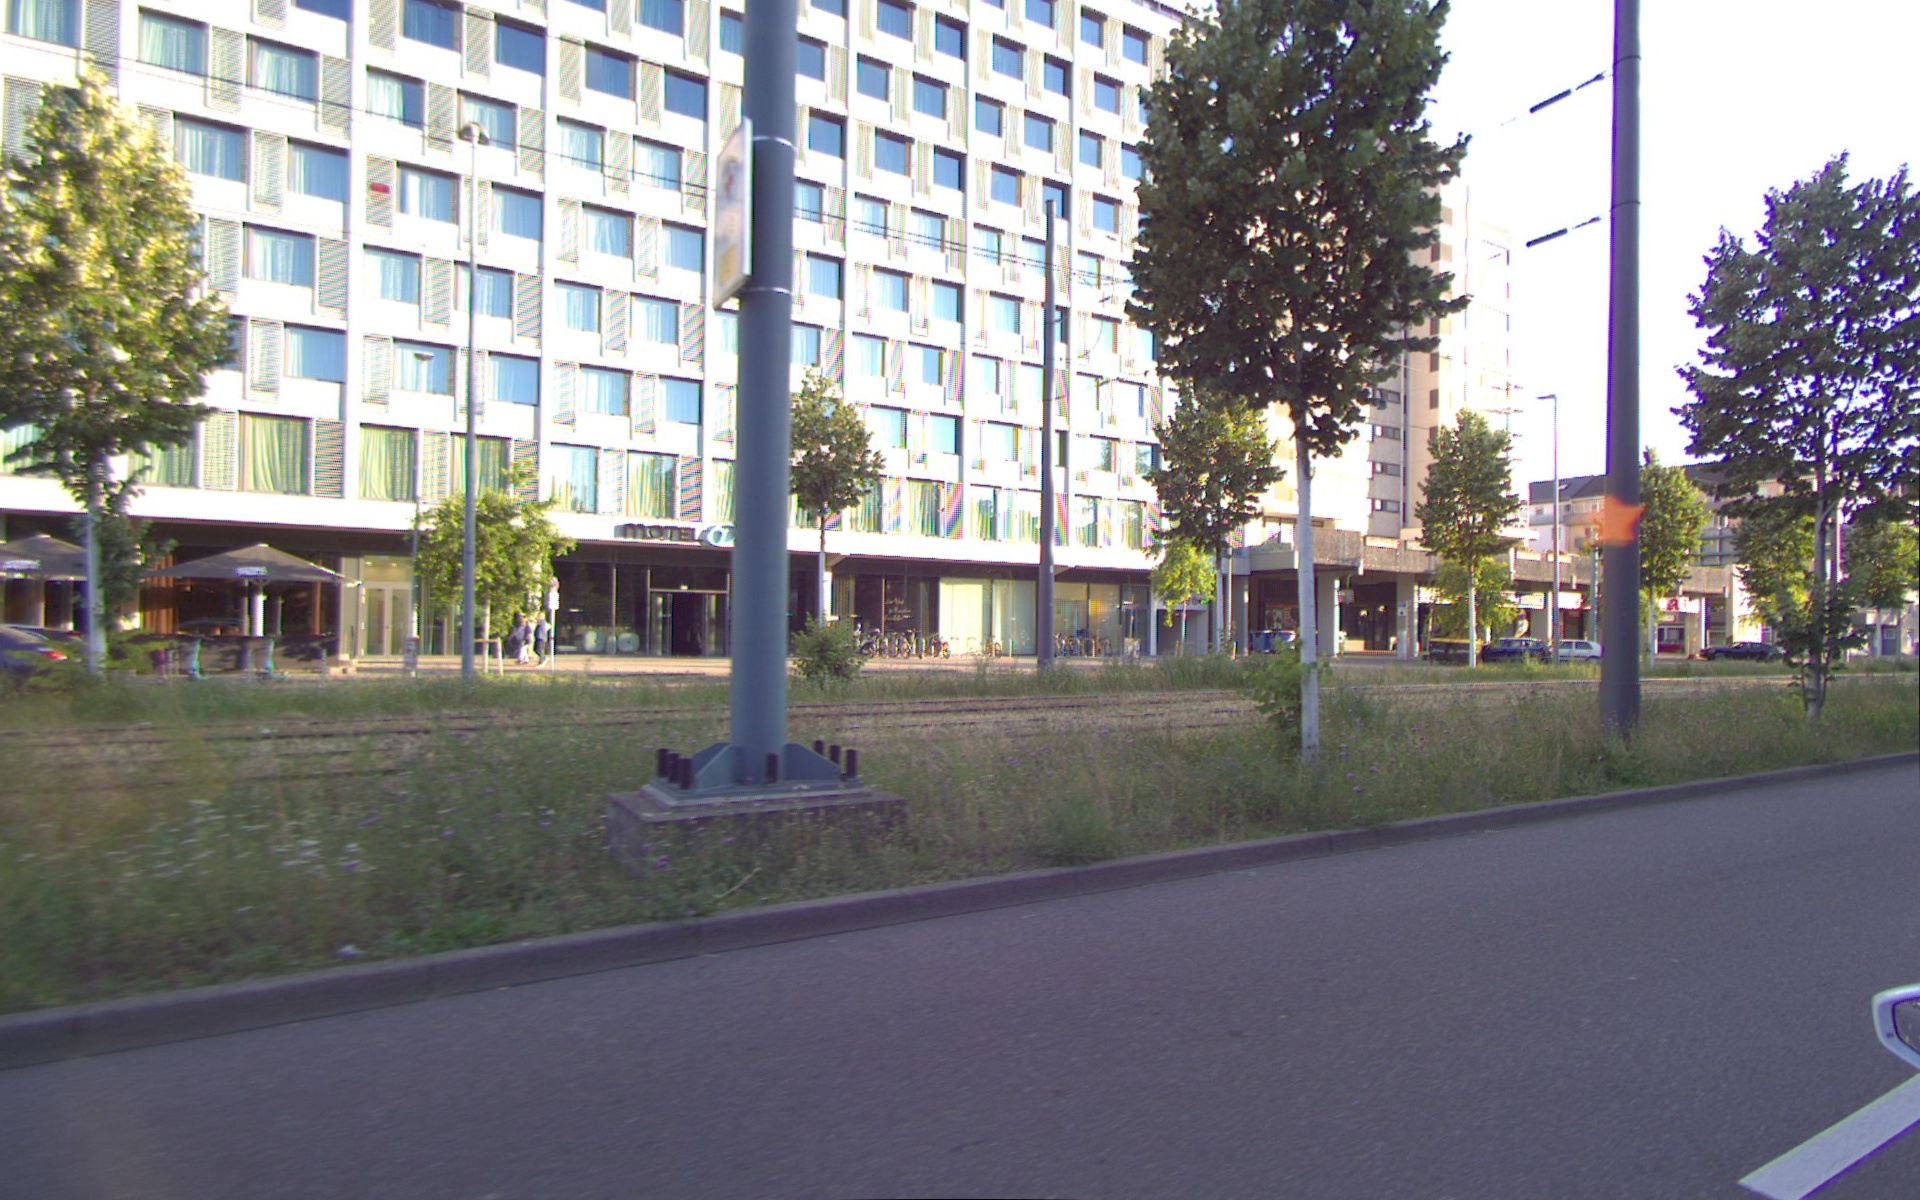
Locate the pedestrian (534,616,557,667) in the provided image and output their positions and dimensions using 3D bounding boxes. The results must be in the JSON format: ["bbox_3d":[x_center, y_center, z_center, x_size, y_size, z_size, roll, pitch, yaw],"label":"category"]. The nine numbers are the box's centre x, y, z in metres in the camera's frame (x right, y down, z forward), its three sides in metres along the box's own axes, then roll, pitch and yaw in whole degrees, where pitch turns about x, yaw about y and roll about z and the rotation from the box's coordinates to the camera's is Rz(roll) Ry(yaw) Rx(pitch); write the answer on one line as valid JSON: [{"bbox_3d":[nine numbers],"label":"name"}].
[{"bbox_3d":[-13.387,1.347,32.460,0.596,1.621,0.494,1,1,-29],"label":"pedestrian"}]

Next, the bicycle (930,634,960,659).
[{"bbox_3d":[-0.675,2.001,43.414,0.417,1.033,1.732,2,-1,-34],"label":"bicycle"}]

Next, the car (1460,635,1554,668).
[{"bbox_3d":[29.589,2.754,54.494,4.201,1.611,2.009,1,-1,20],"label":"car"}]

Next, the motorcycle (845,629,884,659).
[{"bbox_3d":[-3.990,1.827,41.693,1.872,1.187,0.513,1,-1,45],"label":"motorcycle"}]

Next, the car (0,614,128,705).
[{"bbox_3d":[-16.852,0.980,16.373,4.745,1.460,2.006,1,-3,-31],"label":"car"}]

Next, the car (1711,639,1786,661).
[{"bbox_3d":[53.909,3.419,68.755,3.657,1.469,1.745,0,-3,20],"label":"car"}]

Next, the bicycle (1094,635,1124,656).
[{"bbox_3d":[7.552,2.307,51.075,0.417,1.033,1.776,2,-1,-34],"label":"bicycle"}]

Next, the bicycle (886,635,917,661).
[{"bbox_3d":[-2.472,2.009,42.257,0.417,1.033,1.776,2,-1,-34],"label":"bicycle"}]

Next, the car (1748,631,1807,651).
[{"bbox_3d":[78.989,3.949,97.109,2.167,1.870,3.914,2,-2,-31],"label":"car"}]

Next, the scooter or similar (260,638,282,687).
[{"bbox_3d":[-17.240,1.546,25.152,0.334,1.179,1.176,1,-1,-29],"label":"scooter or similar"}]

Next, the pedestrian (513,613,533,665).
[{"bbox_3d":[-14.282,1.269,32.828,0.510,1.678,0.426,1,1,-29],"label":"pedestrian"}]

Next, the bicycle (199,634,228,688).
[{"bbox_3d":[-18.479,1.477,24.886,0.438,1.215,1.897,1,0,-33],"label":"bicycle"}]

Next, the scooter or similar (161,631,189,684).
[{"bbox_3d":[-19.034,1.385,24.374,0.334,1.233,1.176,1,-1,-29],"label":"scooter or similar"}]

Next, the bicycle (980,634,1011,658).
[{"bbox_3d":[1.562,2.036,44.911,0.417,1.033,1.776,2,-1,-34],"label":"bicycle"}]

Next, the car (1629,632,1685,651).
[{"bbox_3d":[72.432,4.351,104.463,2.143,1.792,4.306,0,-3,-32],"label":"car"}]

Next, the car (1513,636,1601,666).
[{"bbox_3d":[34.516,2.916,58.164,4.050,1.455,1.825,2,0,21],"label":"car"}]

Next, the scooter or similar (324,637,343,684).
[{"bbox_3d":[-16.140,1.559,25.887,0.334,1.072,1.176,0,4,-29],"label":"scooter or similar"}]

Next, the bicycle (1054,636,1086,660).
[{"bbox_3d":[5.105,2.221,46.657,0.417,1.033,1.776,2,-1,-34],"label":"bicycle"}]

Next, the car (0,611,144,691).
[{"bbox_3d":[-18.231,0.935,18.930,4.177,1.459,1.875,2,-2,-32],"label":"car"}]
